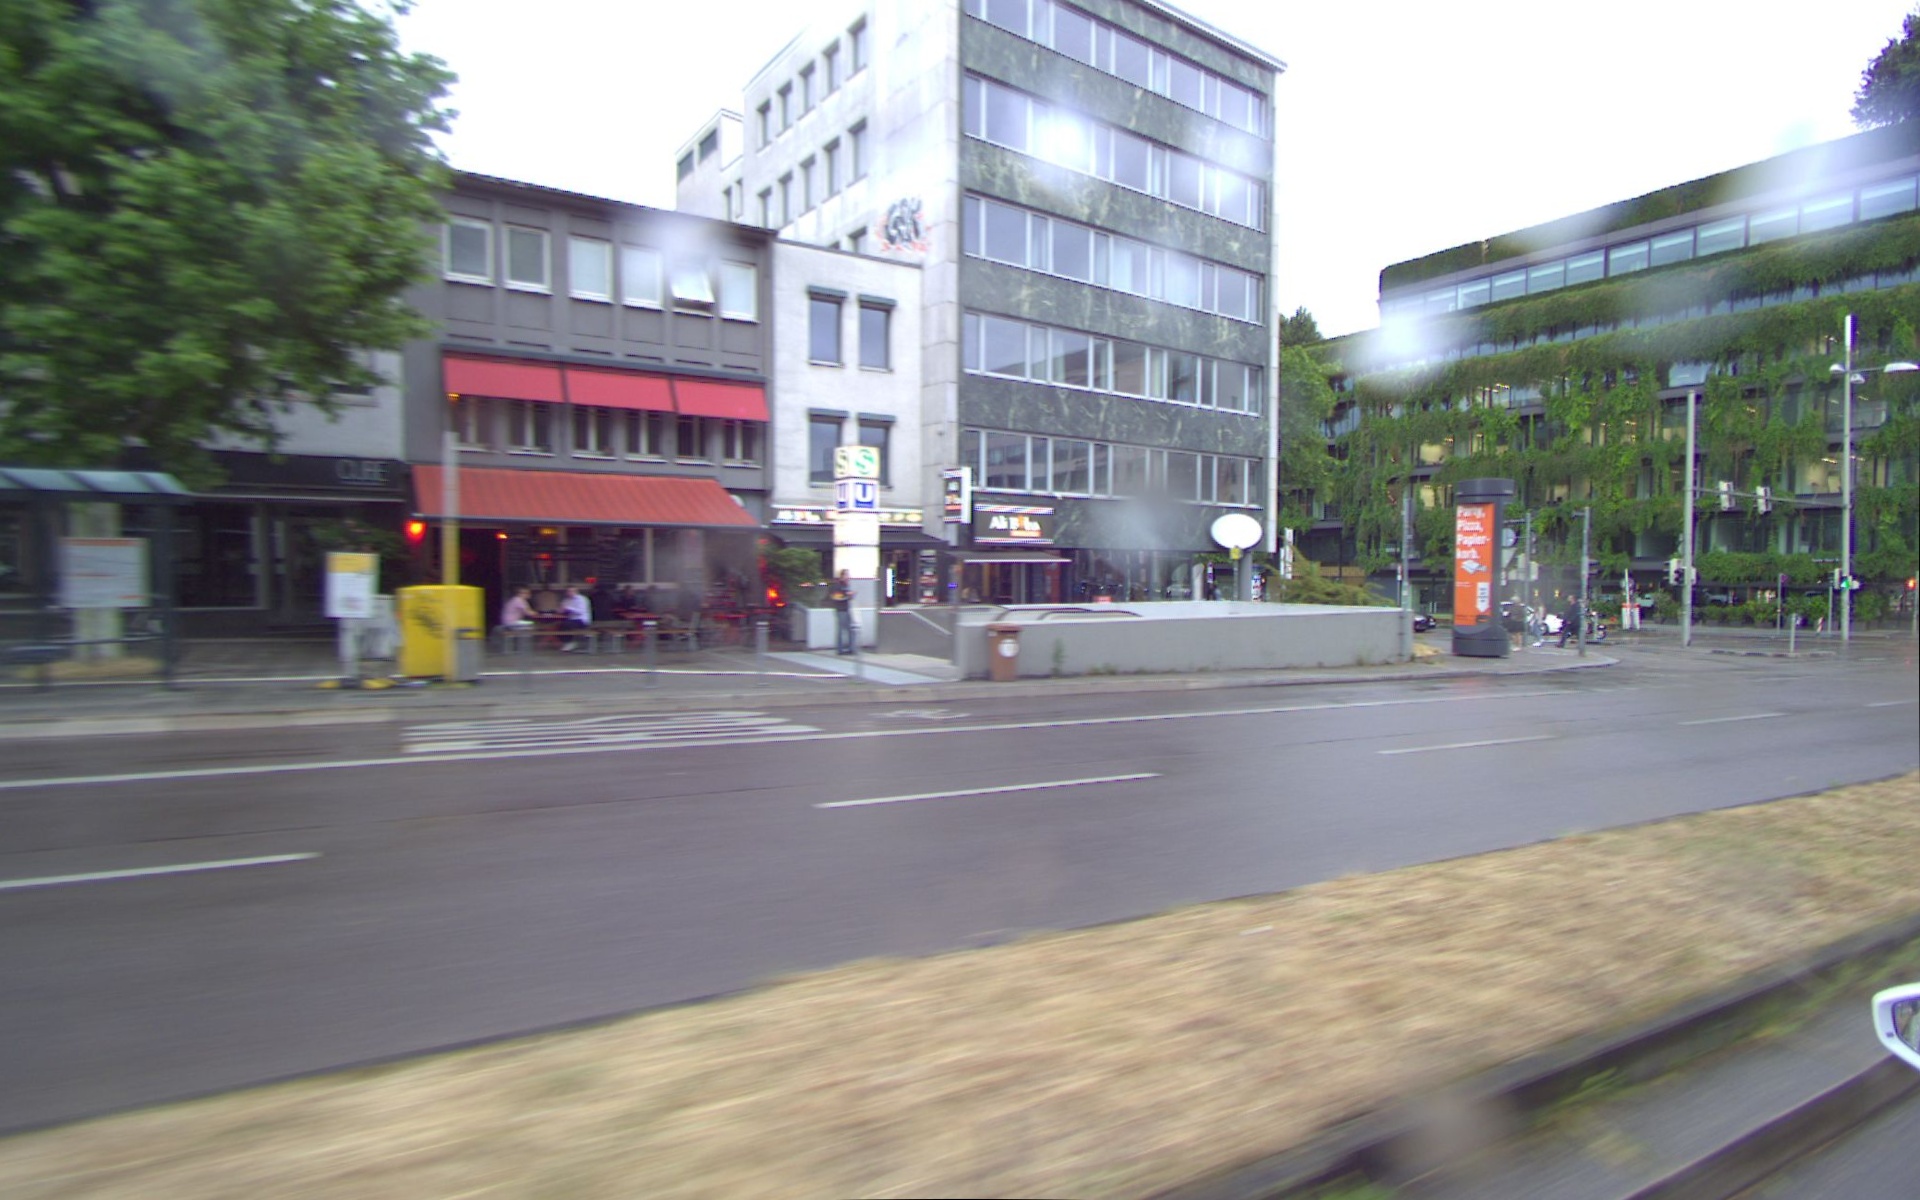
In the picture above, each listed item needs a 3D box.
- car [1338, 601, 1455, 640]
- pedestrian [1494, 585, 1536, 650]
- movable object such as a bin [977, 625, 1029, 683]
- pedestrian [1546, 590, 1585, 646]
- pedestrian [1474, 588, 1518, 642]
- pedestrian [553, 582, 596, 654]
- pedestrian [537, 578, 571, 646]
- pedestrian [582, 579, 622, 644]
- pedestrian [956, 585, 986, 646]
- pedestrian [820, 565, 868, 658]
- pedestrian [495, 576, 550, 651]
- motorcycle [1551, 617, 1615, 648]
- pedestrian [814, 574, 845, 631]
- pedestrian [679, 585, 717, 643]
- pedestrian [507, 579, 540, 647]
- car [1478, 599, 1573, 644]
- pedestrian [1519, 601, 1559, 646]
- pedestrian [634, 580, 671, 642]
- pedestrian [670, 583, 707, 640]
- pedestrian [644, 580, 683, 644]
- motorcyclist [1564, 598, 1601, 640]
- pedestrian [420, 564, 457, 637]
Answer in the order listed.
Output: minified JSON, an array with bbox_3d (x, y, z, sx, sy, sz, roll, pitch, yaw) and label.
[{"bbox_3d":[20.798,0.946,48.030,1.957,1.674,4.755,0,1,-43],"label":"car"},{"bbox_3d":[16.892,0.542,30.573,0.859,1.910,0.798,1,-3,-41],"label":"pedestrian"},{"bbox_3d":[0.698,0.867,16.305,0.677,0.909,0.527,0,-1,-39],"label":"movable object such as a bin"},{"bbox_3d":[21.118,0.634,35.043,0.887,1.910,0.781,0,-3,-30],"label":"pedestrian"},{"bbox_3d":[19.008,0.547,35.614,0.868,1.878,1.015,0,-3,-34],"label":"pedestrian"},{"bbox_3d":[-8.070,0.368,21.048,0.700,1.470,0.685,0,1,-34],"label":"pedestrian"},{"bbox_3d":[-9.056,0.258,22.416,0.577,1.470,0.685,0,1,-33],"label":"pedestrian"},{"bbox_3d":[-8.209,0.258,23.017,0.685,1.470,0.721,0,1,-36],"label":"pedestrian"},{"bbox_3d":[0.357,0.485,31.762,0.586,1.910,0.750,0,1,-36],"label":"pedestrian"},{"bbox_3d":[-2.430,0.231,21.017,0.750,1.910,0.685,0,1,-34],"label":"pedestrian"},{"bbox_3d":[-8.906,0.265,20.453,0.905,1.470,0.685,0,1,-34],"label":"pedestrian"},{"bbox_3d":[26.664,1.375,43.014,2.204,1.227,0.843,1,1,45],"label":"motorcycle"},{"bbox_3d":[-3.401,0.057,26.236,0.582,1.470,0.598,0,1,-35],"label":"pedestrian"},{"bbox_3d":[-6.305,0.338,24.139,0.685,1.362,0.628,0,1,-37],"label":"pedestrian"},{"bbox_3d":[-9.615,0.274,22.113,0.541,1.470,0.685,0,1,-34],"label":"pedestrian"},{"bbox_3d":[26.544,0.978,47.214,1.985,1.948,3.417,0,1,-42],"label":"car"},{"bbox_3d":[20.787,0.848,36.051,0.912,1.606,0.828,0,-3,-30],"label":"pedestrian"},{"bbox_3d":[-7.455,0.269,24.319,0.685,1.470,0.628,0,1,-37],"label":"pedestrian"},{"bbox_3d":[-6.709,0.280,24.815,0.685,1.374,0.628,0,1,-37],"label":"pedestrian"},{"bbox_3d":[-6.960,0.276,23.573,0.685,1.470,0.628,0,1,-37],"label":"pedestrian"},{"bbox_3d":[26.660,0.804,43.018,1.173,1.725,0.843,1,1,44],"label":"motorcyclist"},{"bbox_3d":[-11.546,0.019,22.244,0.600,1.592,0.591,1,0,-40],"label":"pedestrian"}]
